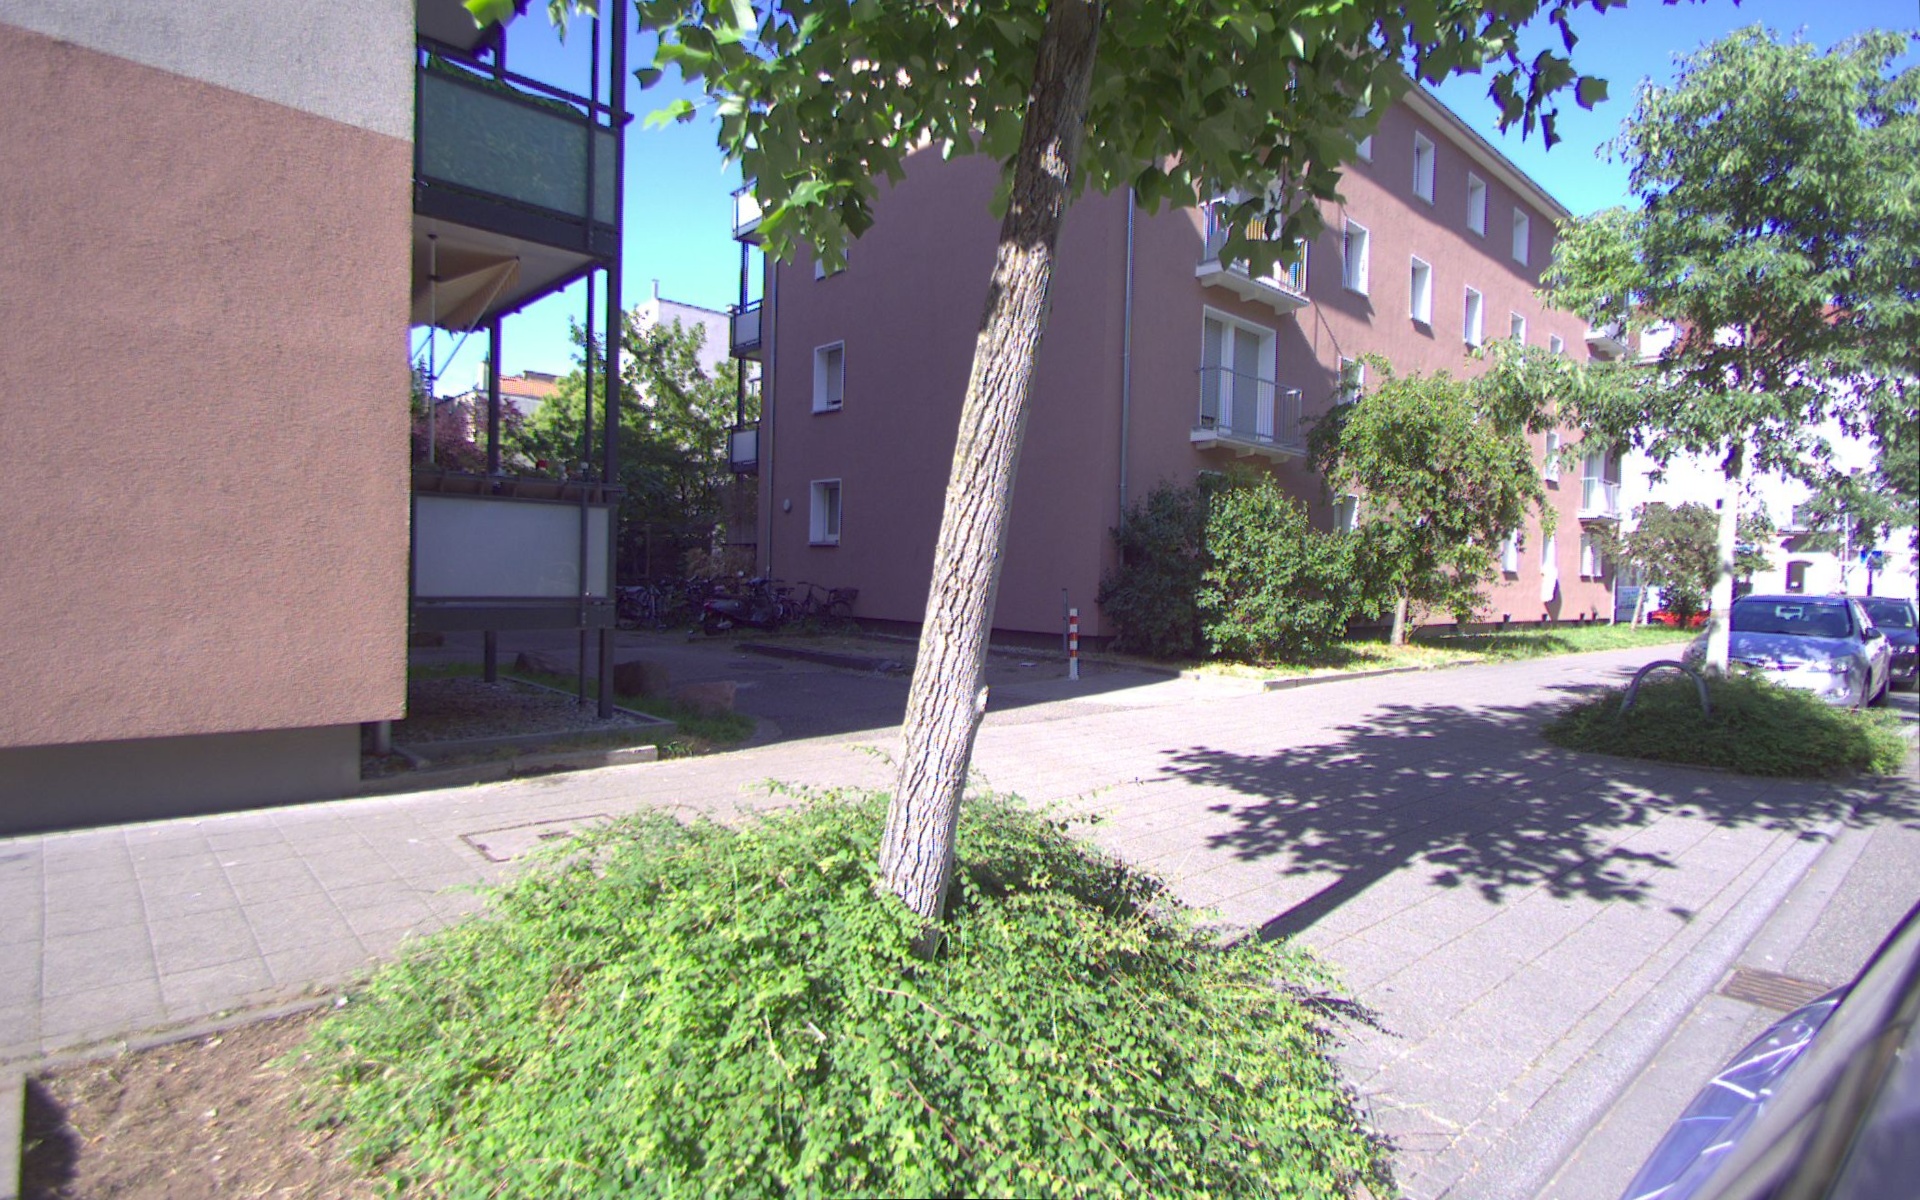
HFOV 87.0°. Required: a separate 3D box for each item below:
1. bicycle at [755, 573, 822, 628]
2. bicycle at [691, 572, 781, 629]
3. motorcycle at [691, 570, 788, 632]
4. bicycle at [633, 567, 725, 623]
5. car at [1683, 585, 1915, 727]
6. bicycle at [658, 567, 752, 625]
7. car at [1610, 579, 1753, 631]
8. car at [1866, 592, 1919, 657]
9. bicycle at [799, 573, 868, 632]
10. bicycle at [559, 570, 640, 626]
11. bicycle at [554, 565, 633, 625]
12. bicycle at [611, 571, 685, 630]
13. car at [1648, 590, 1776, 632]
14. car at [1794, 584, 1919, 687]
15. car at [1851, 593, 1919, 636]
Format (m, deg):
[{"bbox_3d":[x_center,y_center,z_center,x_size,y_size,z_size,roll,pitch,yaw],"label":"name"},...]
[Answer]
[{"bbox_3d":[-3.671,-0.004,21.567,0.548,1.112,1.716,0,2,-43],"label":"bicycle"},{"bbox_3d":[-4.577,0.004,20.764,1.741,1.120,0.567,0,2,-42],"label":"bicycle"},{"bbox_3d":[-4.115,0.010,18.957,1.741,1.120,0.526,0,2,-42],"label":"motorcycle"},{"bbox_3d":[-6.091,-0.111,22.015,1.848,1.166,0.577,0,1,-41],"label":"bicycle"},{"bbox_3d":[10.798,0.577,12.932,3.932,1.471,1.719,-1,3,-42],"label":"car"},{"bbox_3d":[-5.337,-0.087,21.277,1.848,1.166,0.577,0,1,-41],"label":"bicycle"},{"bbox_3d":[30.991,0.171,43.557,4.743,2.038,1.969,3,2,44],"label":"car"},{"bbox_3d":[22.989,0.564,24.058,3.931,1.446,1.734,0,2,-42],"label":"car"},{"bbox_3d":[-2.551,0.029,20.349,0.584,1.112,1.537,0,1,-43],"label":"bicycle"},{"bbox_3d":[-7.427,-0.048,20.868,1.454,1.112,0.556,0,1,-41],"label":"bicycle"},{"bbox_3d":[-7.727,-0.109,21.380,1.454,1.220,0.556,0,1,-41],"label":"bicycle"},{"bbox_3d":[-6.262,-0.008,20.270,1.712,1.112,0.549,2,1,39],"label":"bicycle"},{"bbox_3d":[28.492,0.372,38.426,1.541,1.419,3.645,0,2,-42],"label":"car"},{"bbox_3d":[15.460,0.522,16.982,4.237,1.500,1.660,0,2,-42],"label":"car"},{"bbox_3d":[34.738,0.545,35.738,4.783,1.443,1.972,2,2,39],"label":"car"}]
